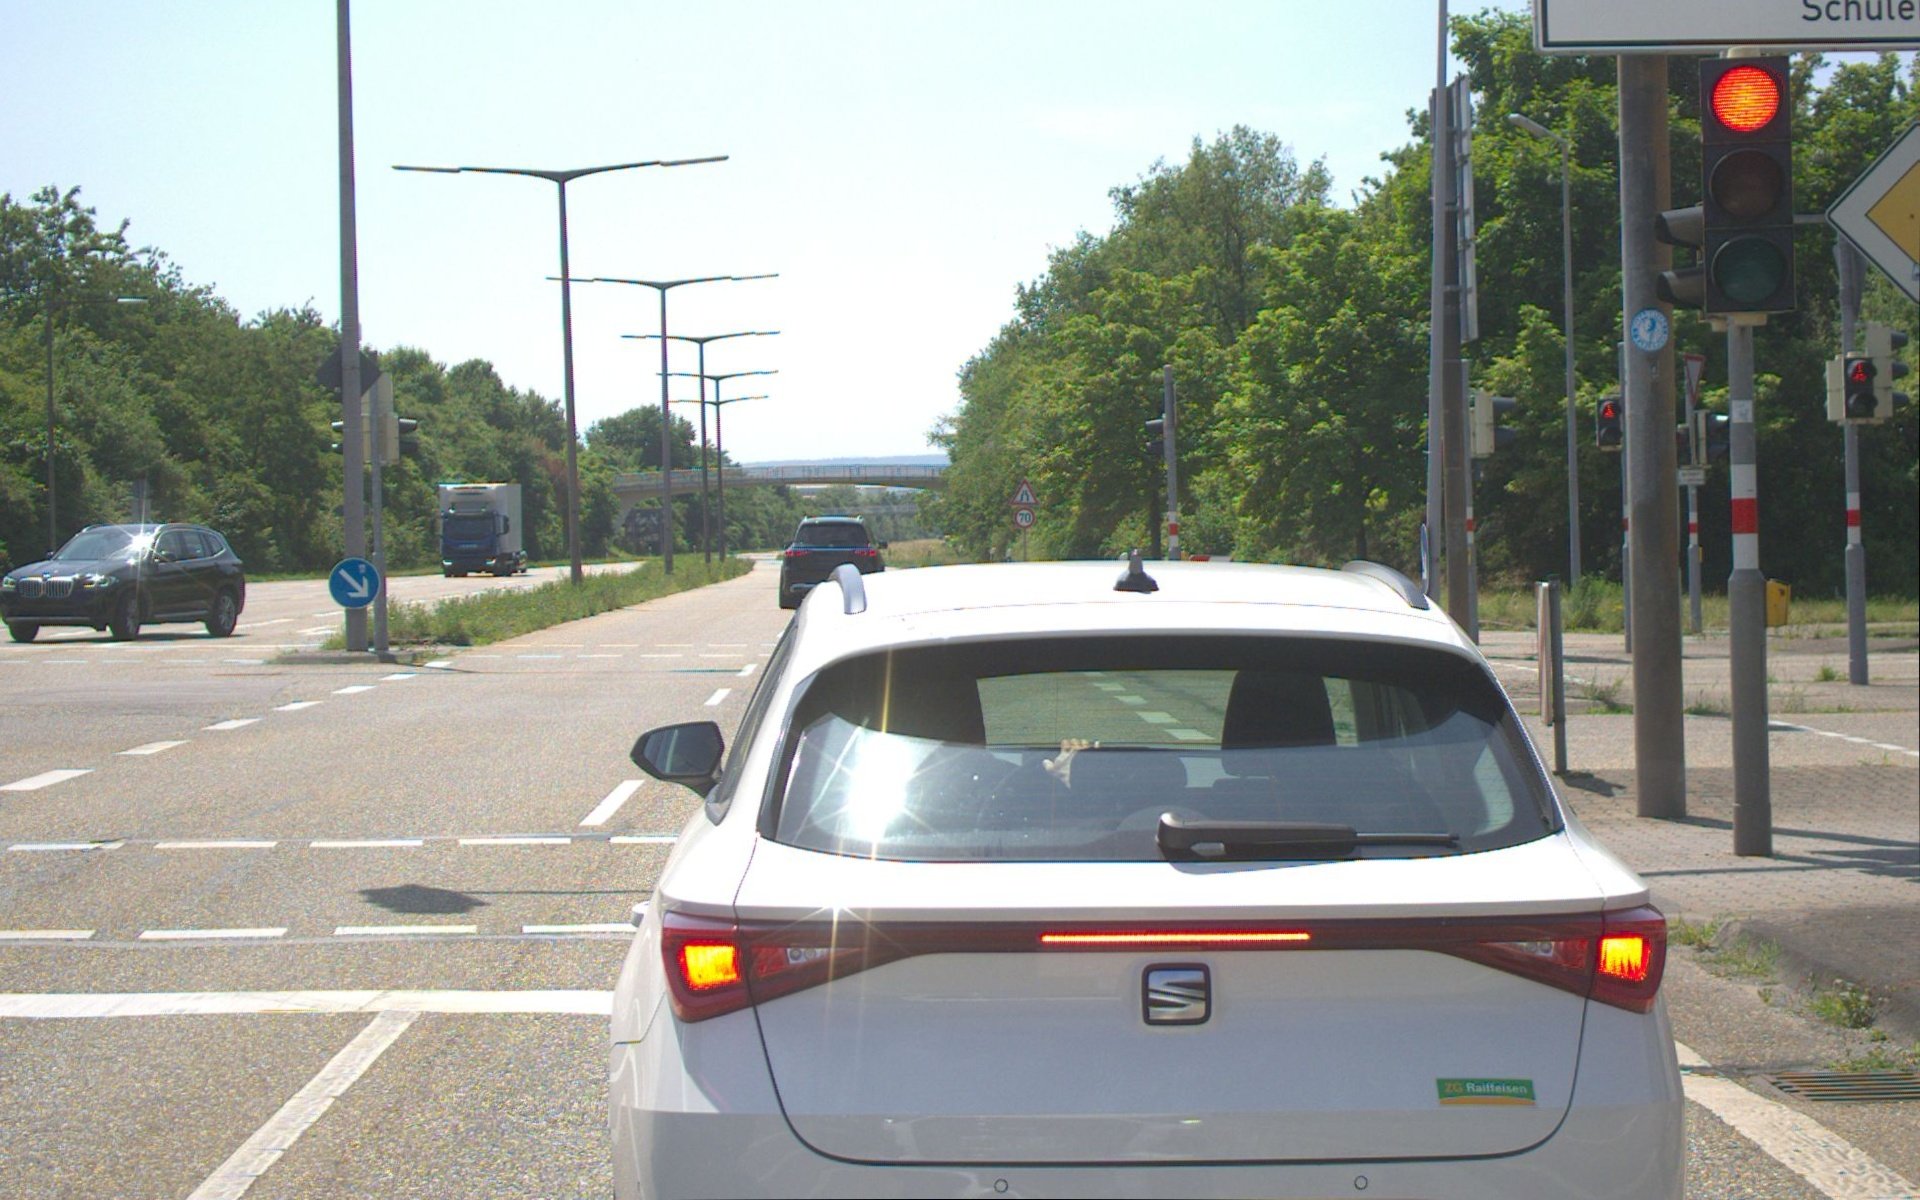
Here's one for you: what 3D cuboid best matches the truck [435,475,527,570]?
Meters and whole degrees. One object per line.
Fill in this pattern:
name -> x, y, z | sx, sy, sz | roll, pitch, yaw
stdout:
truck -> -18.523, -3.023, 133.344 | 2.687, 3.558, 7.268 | 0, 1, -1

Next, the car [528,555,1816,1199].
car -> 0.263, 0.645, 6.508 | 1.734, 1.423, 3.695 | 1, 1, -1

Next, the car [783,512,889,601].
car -> -2.445, -0.886, 68.794 | 1.855, 1.703, 4.000 | -1, 1, 1

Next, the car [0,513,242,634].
car -> -12.242, -0.417, 50.222 | 1.708, 1.657, 4.220 | -1, 1, 15
